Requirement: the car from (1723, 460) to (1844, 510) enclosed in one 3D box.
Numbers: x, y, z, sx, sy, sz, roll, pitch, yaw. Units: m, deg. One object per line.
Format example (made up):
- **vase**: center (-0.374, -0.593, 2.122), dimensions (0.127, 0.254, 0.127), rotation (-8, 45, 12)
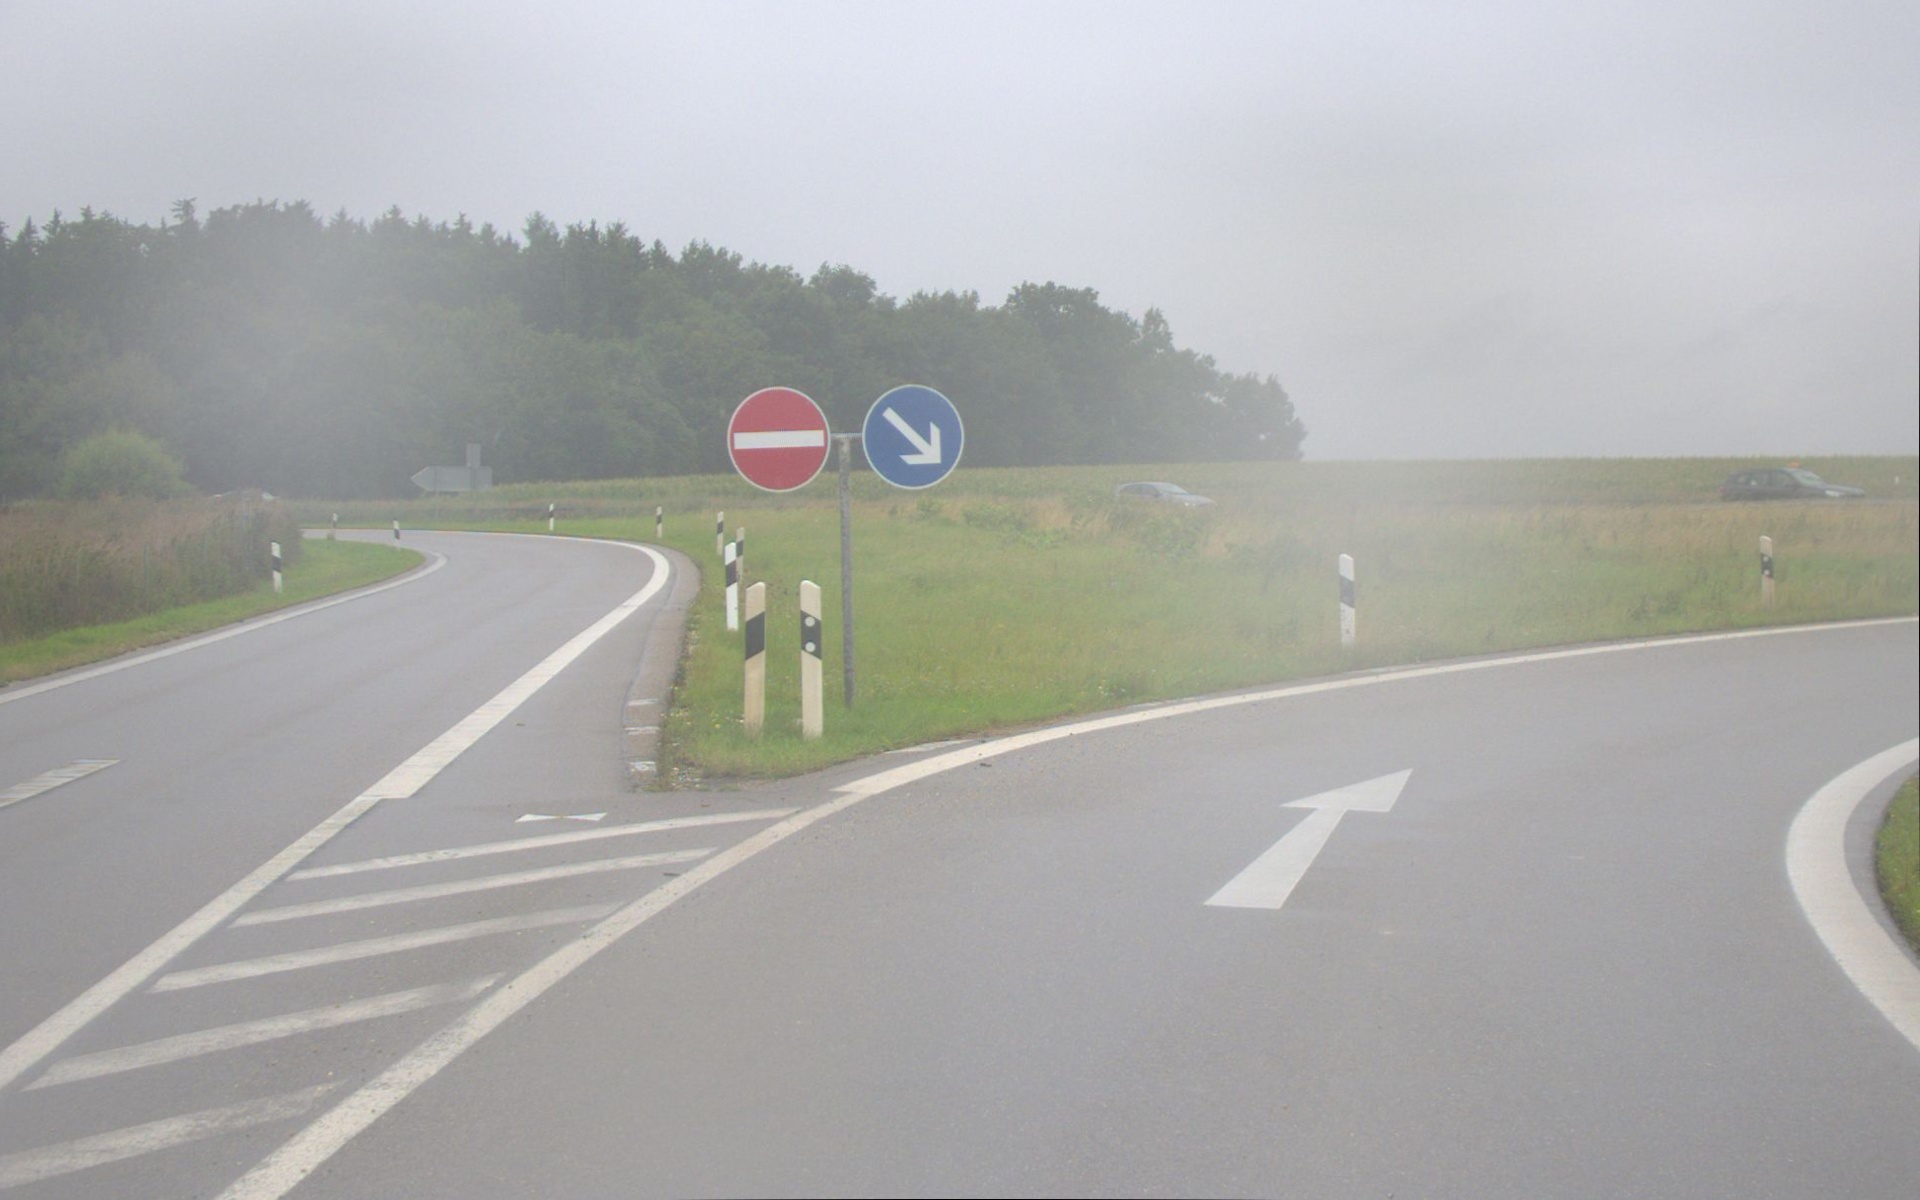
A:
- **car**: center (30.234, -4.215, 126.259), dimensions (3.997, 1.730, 1.731), rotation (1, 3, 44)
